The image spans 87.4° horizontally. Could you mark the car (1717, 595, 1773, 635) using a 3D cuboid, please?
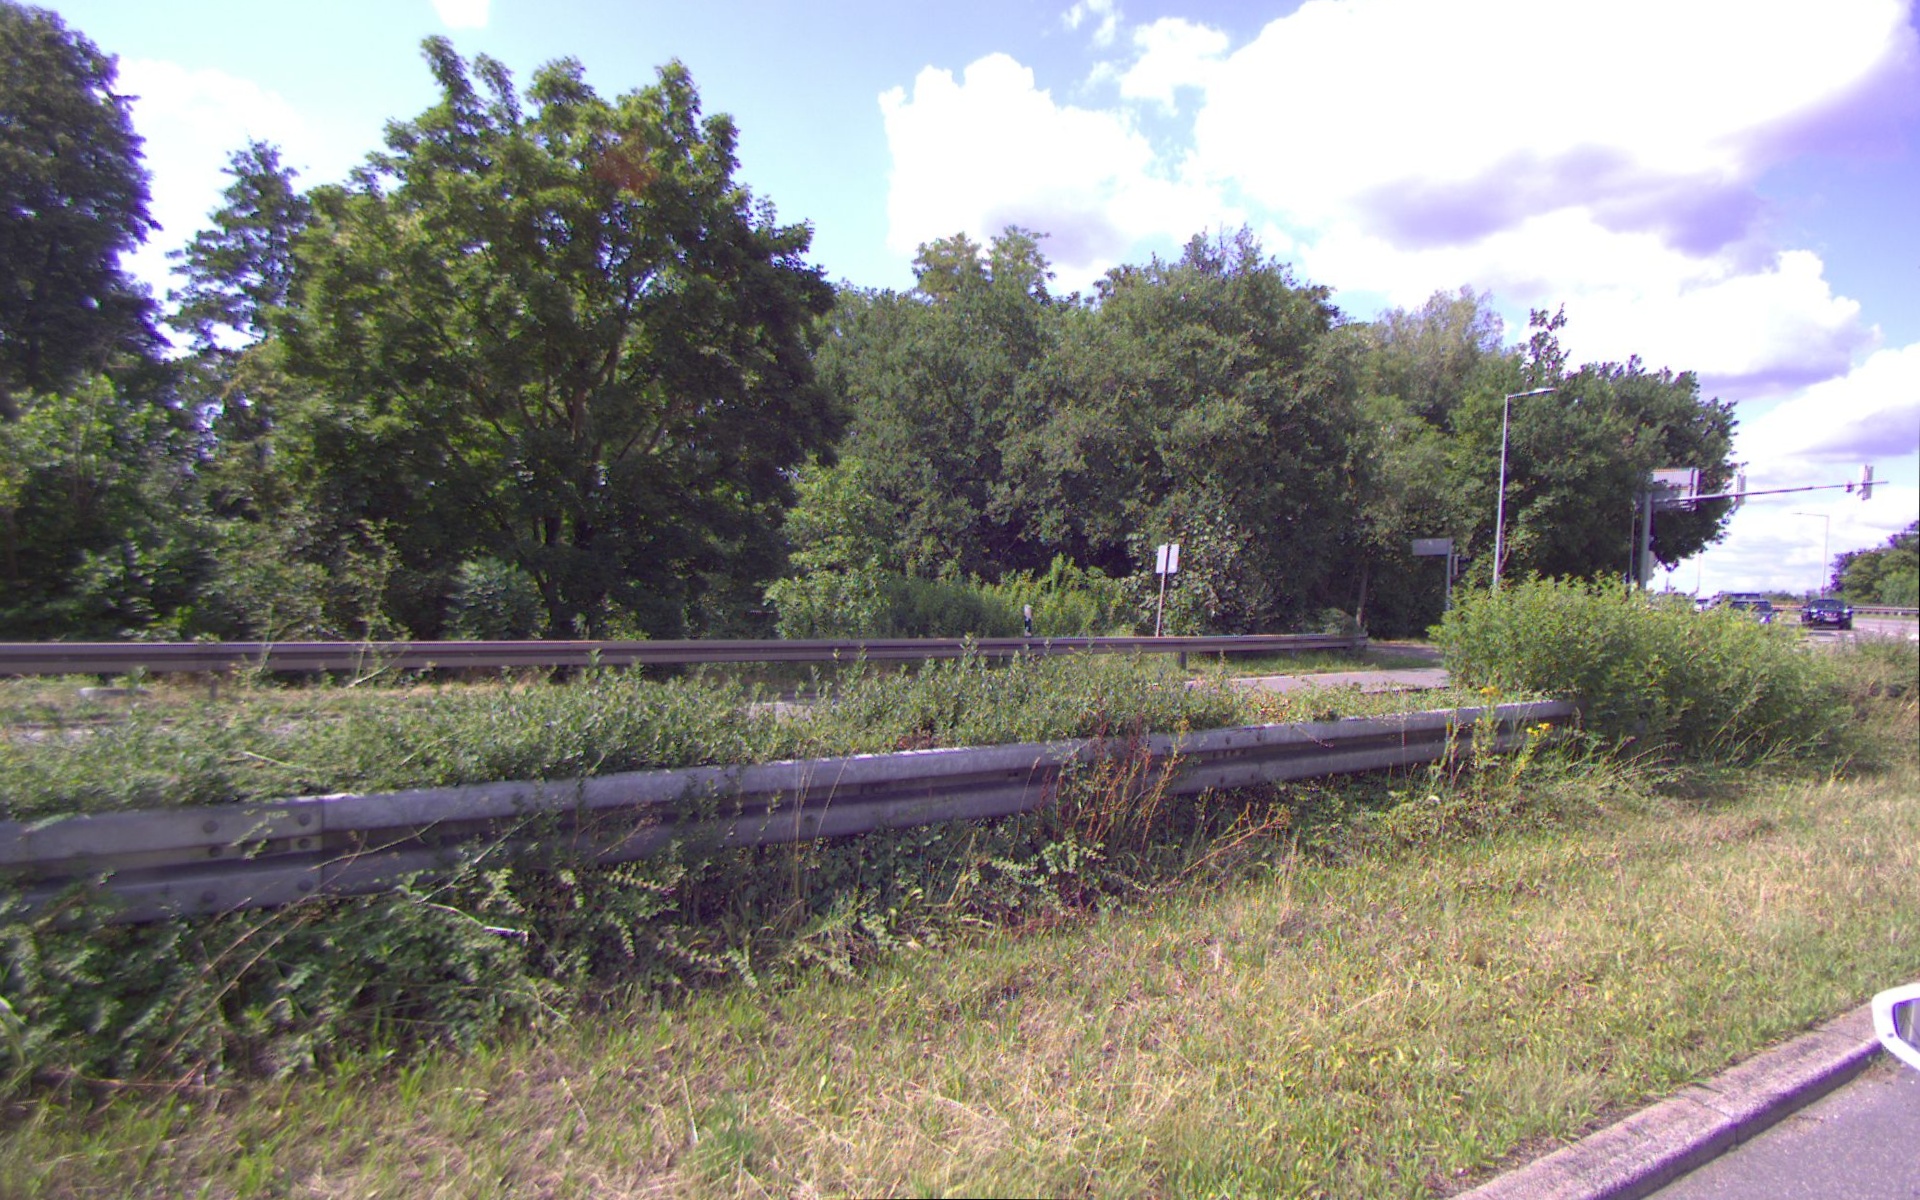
[{"bbox_3d":[34.495,0.664,44.184,1.816,1.639,3.984,2,-1,38],"label":"car"}]

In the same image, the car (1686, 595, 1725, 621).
[{"bbox_3d":[51.571,0.531,69.561,1.817,1.728,4.315,2,1,32],"label":"car"}]

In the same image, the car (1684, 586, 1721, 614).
[{"bbox_3d":[56.030,-0.007,75.855,1.817,2.005,4.316,2,1,32],"label":"car"}]

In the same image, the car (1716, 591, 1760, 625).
[{"bbox_3d":[43.448,0.427,56.140,1.820,1.826,4.309,2,1,37],"label":"car"}]

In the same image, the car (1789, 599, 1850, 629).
[{"bbox_3d":[44.547,0.683,52.123,1.920,1.437,3.958,2,1,34],"label":"car"}]

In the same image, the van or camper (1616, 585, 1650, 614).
[{"bbox_3d":[67.063,-0.063,100.176,1.963,2.719,6.854,1,1,27],"label":"van or camper"}]
